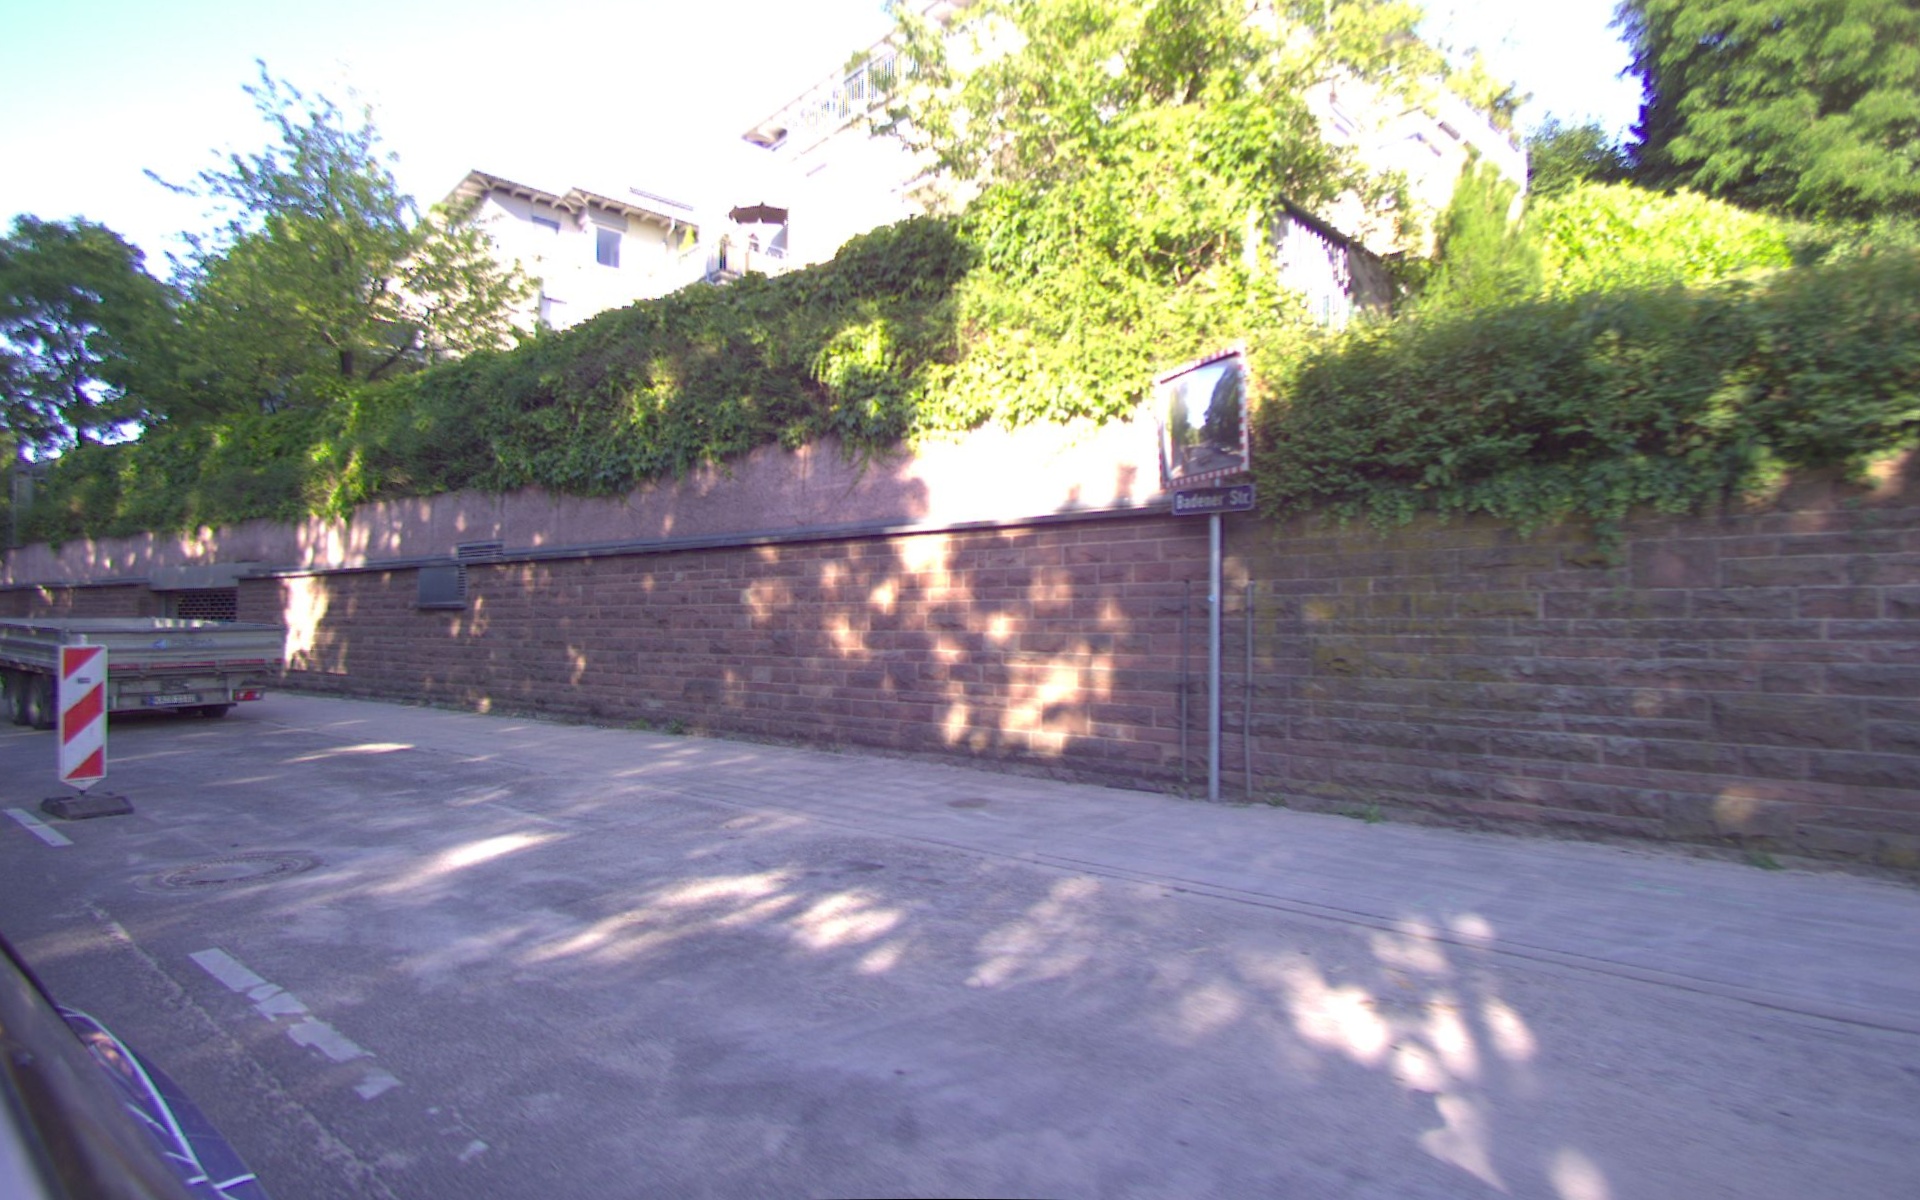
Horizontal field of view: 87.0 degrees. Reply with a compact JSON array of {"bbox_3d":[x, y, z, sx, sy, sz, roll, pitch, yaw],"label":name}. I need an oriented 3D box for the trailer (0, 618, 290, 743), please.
[{"bbox_3d":[-13.262,1.041,15.467,7.101,1.500,2.617,-1,-1,35],"label":"trailer"}]
